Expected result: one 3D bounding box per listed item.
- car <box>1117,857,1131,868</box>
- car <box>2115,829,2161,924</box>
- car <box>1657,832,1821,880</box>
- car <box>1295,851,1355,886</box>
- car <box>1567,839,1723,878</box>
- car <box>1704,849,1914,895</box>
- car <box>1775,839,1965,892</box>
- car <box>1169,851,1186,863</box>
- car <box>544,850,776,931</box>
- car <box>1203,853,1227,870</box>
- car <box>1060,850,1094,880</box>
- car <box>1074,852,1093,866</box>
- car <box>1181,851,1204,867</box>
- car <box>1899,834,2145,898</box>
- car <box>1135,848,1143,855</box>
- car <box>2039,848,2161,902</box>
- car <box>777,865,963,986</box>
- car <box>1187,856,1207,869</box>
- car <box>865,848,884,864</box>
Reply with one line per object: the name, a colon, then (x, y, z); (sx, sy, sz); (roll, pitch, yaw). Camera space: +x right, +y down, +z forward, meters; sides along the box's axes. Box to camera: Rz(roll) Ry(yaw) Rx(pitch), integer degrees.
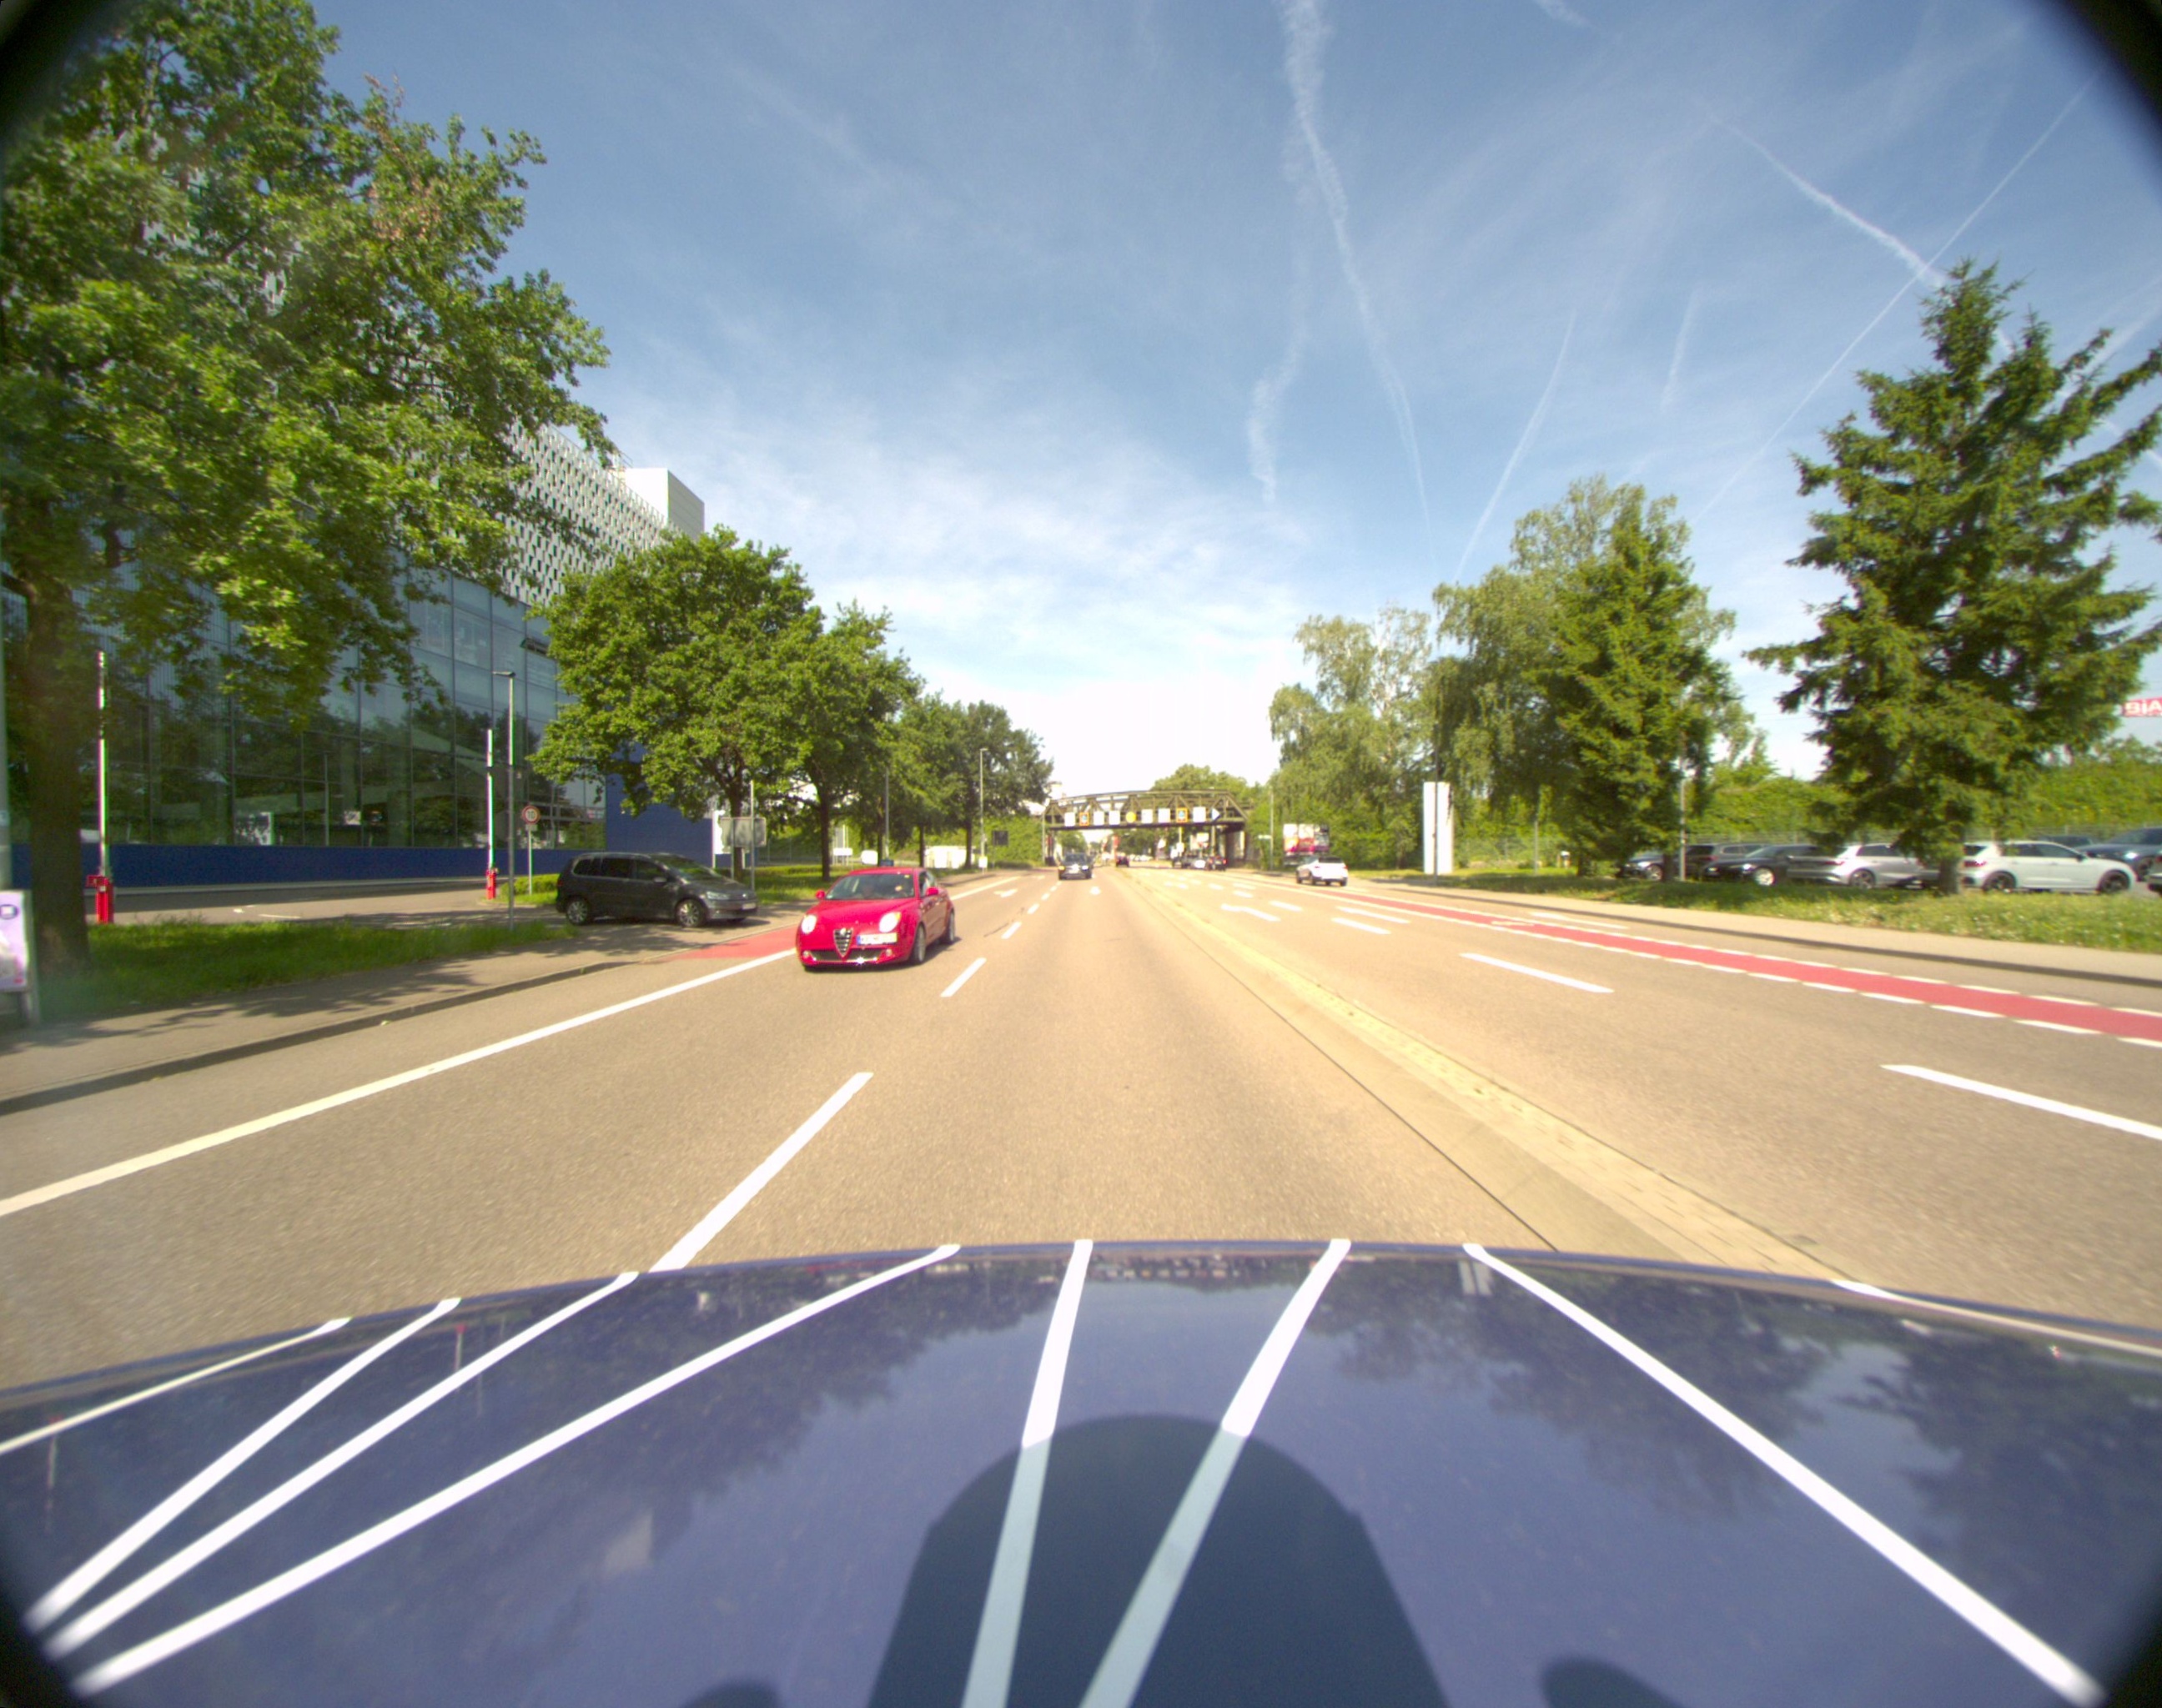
car: (5.846, 1.114, 104.058); (1.785, 1.438, 4.120); (0, 1, 1)
car: (23.513, 0.386, 14.590); (4.474, 1.864, 2.000); (-2, 1, 2)
car: (23.848, 0.064, 27.669); (4.224, 1.537, 2.000); (-2, 0, 0)
car: (12.297, 0.699, 38.591); (1.998, 1.608, 4.105); (1, 1, 5)
car: (22.408, 0.172, 30.325); (4.698, 1.381, 2.000); (-2, 0, 0)
car: (23.391, 0.558, 24.550); (4.863, 1.261, 2.000); (-2, 0, 0)
car: (23.075, 0.317, 22.329); (3.689, 1.363, 1.816); (-2, 0, 0)
car: (13.477, 0.436, 106.353); (1.877, 1.586, 4.387); (0, 0, 0)
car: (-9.637, 0.787, 17.553); (4.452, 1.684, 1.845); (1, 1, 8)
car: (13.120, 0.714, 74.546); (1.702, 1.510, 4.027); (1, 0, 0)
car: (-0.200, 0.599, 45.046); (1.824, 1.632, 4.112); (-2, 0, 1)
car: (0.288, 0.577, 83.095); (1.888, 1.427, 4.000); (-2, 0, 0)
car: (13.606, 0.551, 93.239); (1.998, 1.850, 5.450); (2, 0, 0)
car: (24.618, 0.307, 20.020); (3.996, 1.477, 1.848); (-2, 0, 4)
car: (15.039, -0.606, 197.618); (1.824, 1.711, 3.636); (-2, 0, -2)
car: (34.190, 0.659, 24.539); (4.253, 1.555, 1.805); (-2, 0, -1)
car: (-3.116, 0.987, 12.094); (1.798, 1.446, 3.978); (-1, 1, 0)
car: (13.012, 0.945, 85.729); (1.639, 1.379, 4.318); (1, 0, 1)
car: (-23.487, 0.228, 86.371); (1.858, 1.629, 4.297); (-2, 0, -18)
